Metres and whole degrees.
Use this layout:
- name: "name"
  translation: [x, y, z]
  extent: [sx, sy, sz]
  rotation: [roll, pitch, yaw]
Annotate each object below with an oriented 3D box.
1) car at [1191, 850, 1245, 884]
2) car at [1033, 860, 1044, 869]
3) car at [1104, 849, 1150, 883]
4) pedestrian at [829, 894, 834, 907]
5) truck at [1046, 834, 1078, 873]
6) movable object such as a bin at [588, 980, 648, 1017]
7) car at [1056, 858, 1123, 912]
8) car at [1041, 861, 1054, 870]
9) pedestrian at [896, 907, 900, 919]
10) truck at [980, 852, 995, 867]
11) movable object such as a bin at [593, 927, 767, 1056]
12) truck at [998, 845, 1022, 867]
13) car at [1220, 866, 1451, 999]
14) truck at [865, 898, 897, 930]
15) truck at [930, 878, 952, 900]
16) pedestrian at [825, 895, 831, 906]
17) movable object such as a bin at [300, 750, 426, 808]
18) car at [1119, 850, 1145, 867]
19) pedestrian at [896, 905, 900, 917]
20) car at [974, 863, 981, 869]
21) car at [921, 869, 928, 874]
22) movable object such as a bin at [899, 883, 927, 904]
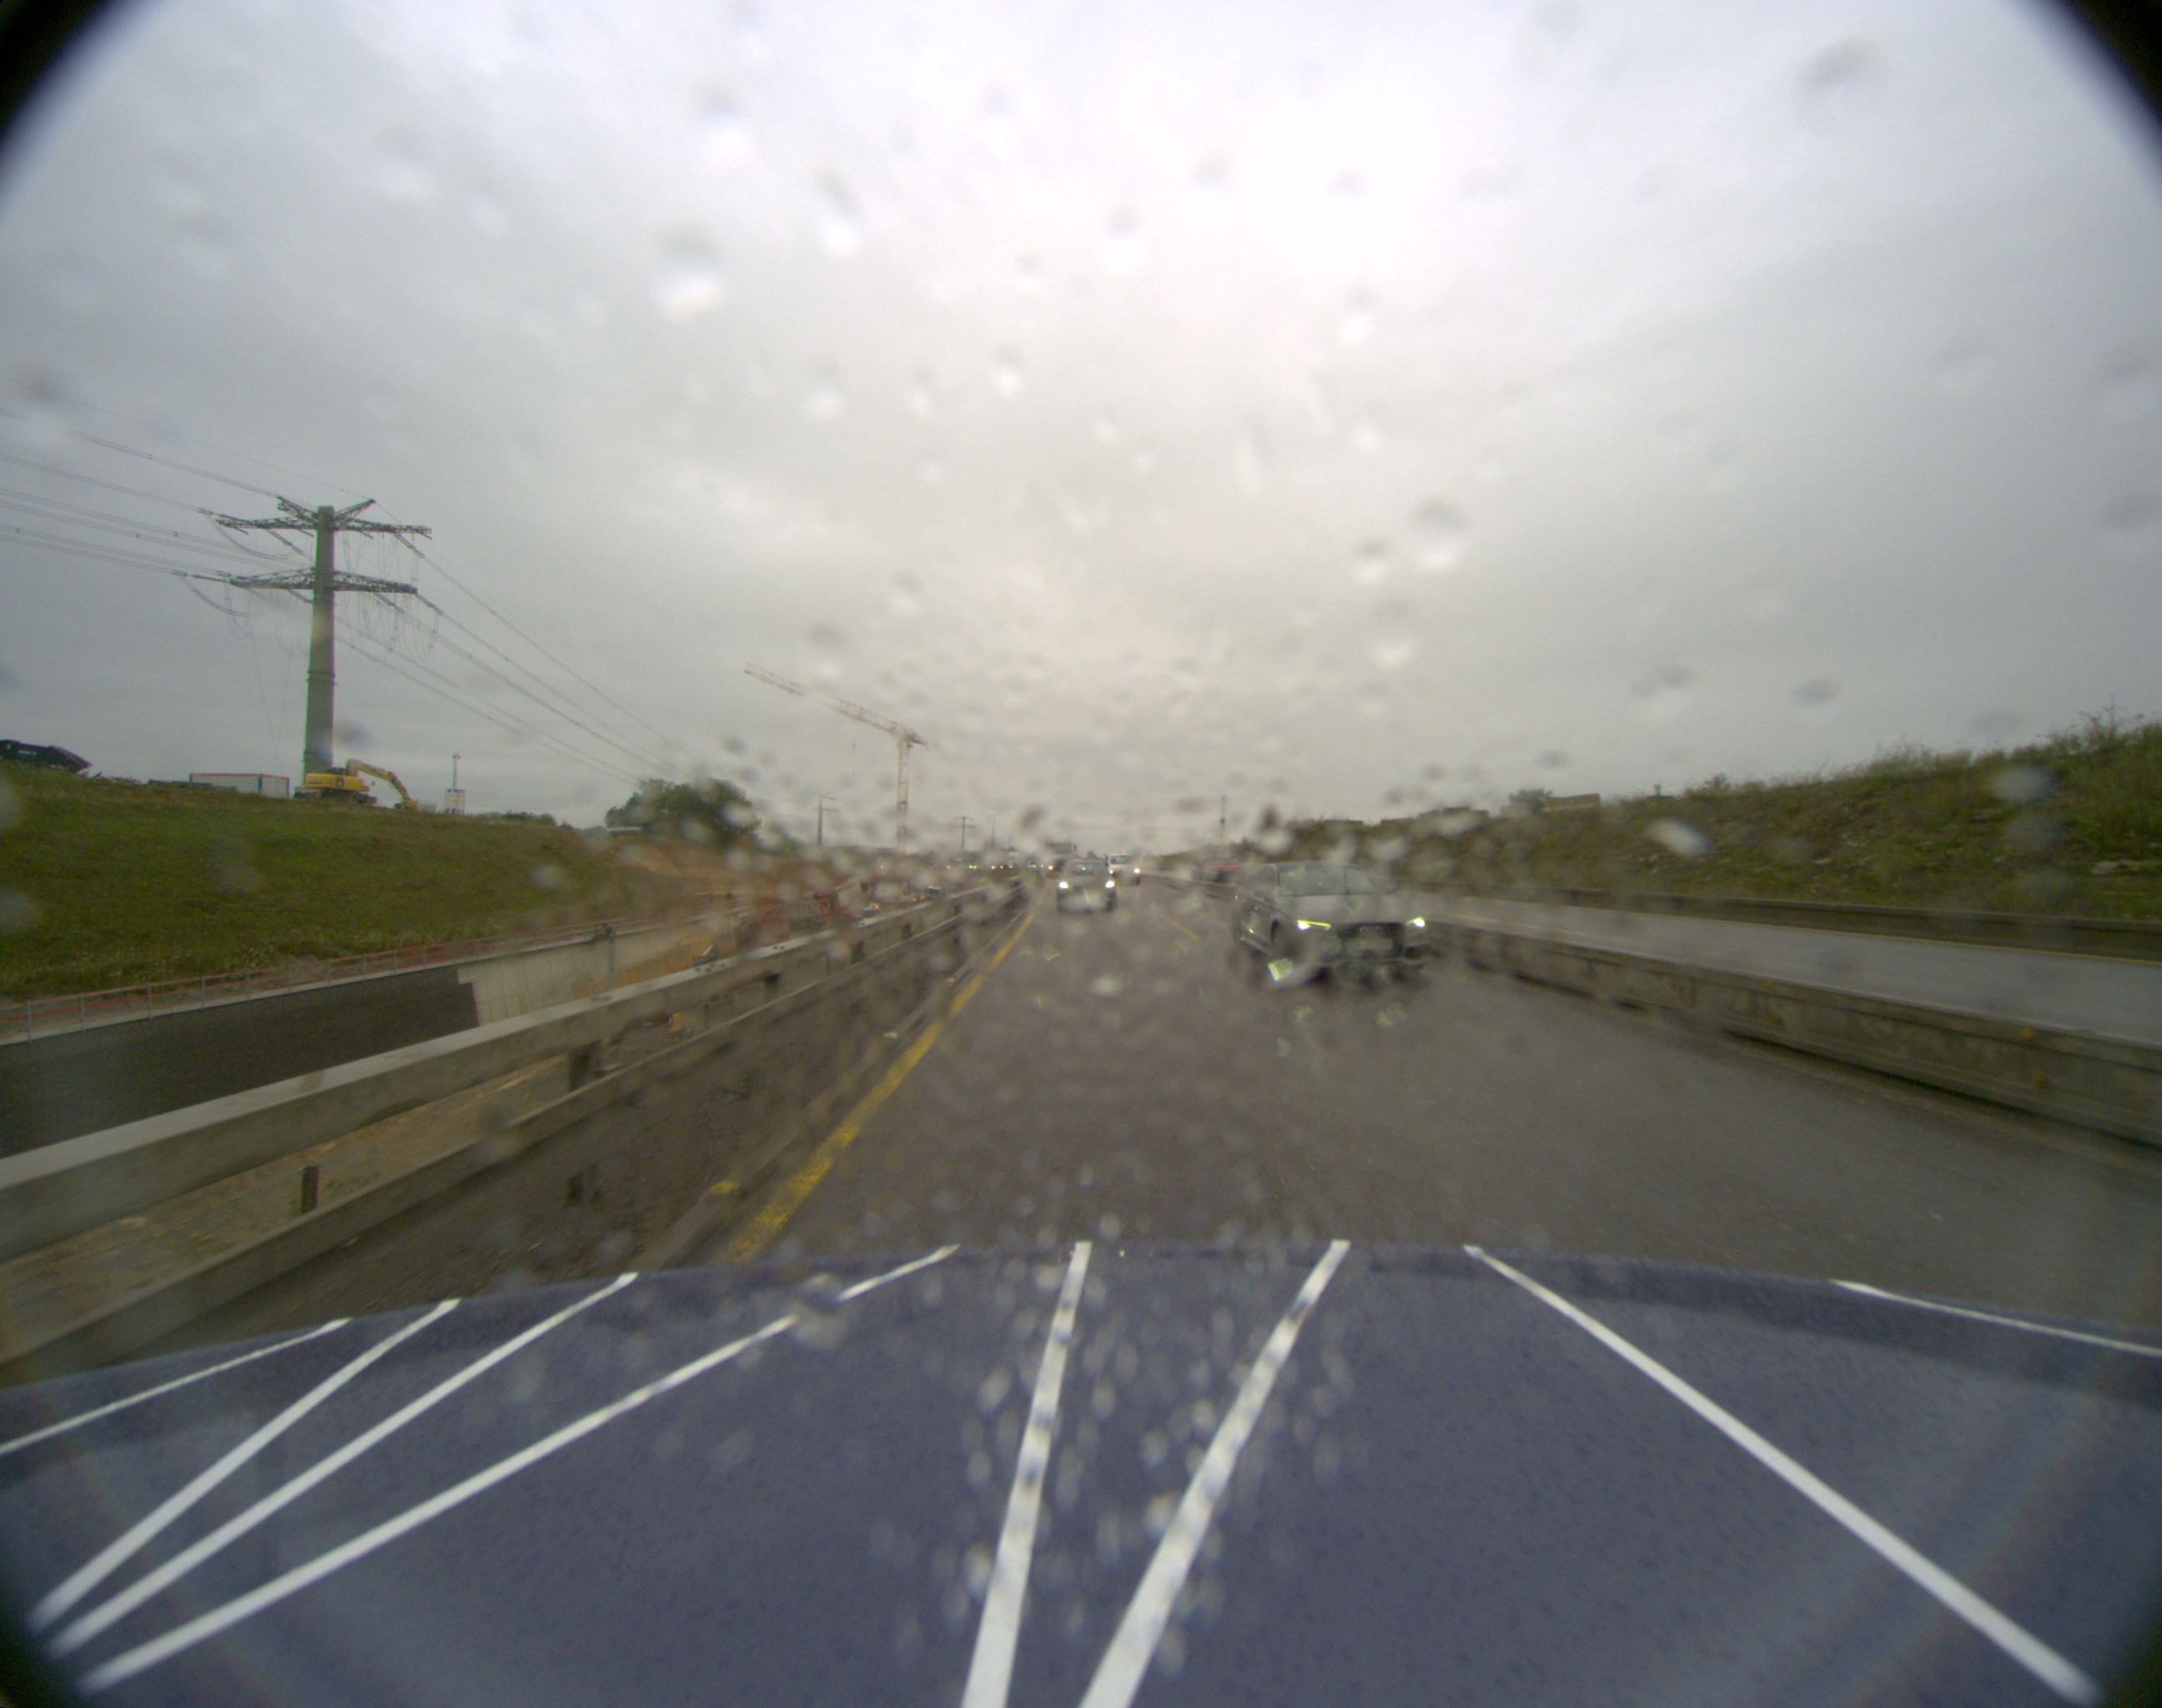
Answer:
- name: "car"
  translation: [6.765, 0.599, 38.035]
  extent: [1.816, 1.584, 4.901]
  rotation: [0, 0, -1]
- name: "car"
  translation: [-8.588, 2.107, 153.755]
  extent: [1.791, 1.646, 3.996]
  rotation: [-3, 0, -11]
- name: "car"
  translation: [2.716, 0.678, 46.172]
  extent: [2.070, 1.933, 5.154]
  rotation: [-2, 0, -4]
- name: "pedestrian"
  translation: [-42.049, 7.883, 127.839]
  extent: [0.489, 2.088, 0.481]
  rotation: [-7, 2, -8]
- name: "truck"
  translation: [-1.954, -0.074, 73.935]
  extent: [2.856, 3.462, 8.641]
  rotation: [-2, 0, -3]
- name: "movable object such as a bin"
  translation: [-34.605, 10.780, 56.897]
  extent: [2.524, 1.900, 3.255]
  rotation: [-4, 1, -7]
- name: "car"
  translation: [0.178, 0.909, 23.833]
  extent: [1.874, 1.481, 4.260]
  rotation: [-2, 0, -2]
- name: "car"
  translation: [-6.082, 2.100, 137.175]
  extent: [1.790, 1.418, 3.997]
  rotation: [-3, 0, -8]
- name: "pedestrian"
  translation: [-29.338, 9.503, 121.983]
  extent: [0.603, 1.894, 0.614]
  rotation: [0, 1, -8]
- name: "truck"
  translation: [-26.193, 1.588, 213.001]
  extent: [3.548, 3.870, 8.328]
  rotation: [-3, 0, -10]
- name: "movable object such as a bin"
  translation: [-25.998, 8.655, 50.563]
  extent: [4.907, 5.639, 12.083]
  rotation: [-4, 3, -1]
- name: "truck"
  translation: [-15.294, 0.368, 163.051]
  extent: [4.321, 4.319, 13.398]
  rotation: [-3, 0, -8]
- name: "car"
  translation: [3.276, 0.928, 10.690]
  extent: [1.805, 1.375, 4.087]
  rotation: [-2, 0, -1]
- name: "truck"
  translation: [-28.053, 8.345, 106.819]
  extent: [2.711, 3.591, 9.068]
  rotation: [0, 1, -5]
- name: "truck"
  translation: [-27.162, 6.783, 147.829]
  extent: [3.362, 3.521, 8.900]
  rotation: [-1, 2, -5]
- name: "pedestrian"
  translation: [-42.128, 7.741, 126.356]
  extent: [0.488, 1.794, 0.583]
  rotation: [-5, 2, 32]
- name: "movable object such as a bin"
  translation: [-61.889, -6.347, 65.842]
  extent: [3.107, 4.181, 8.178]
  rotation: [0, 0, 0]
- name: "car"
  translation: [5.161, 0.468, 77.728]
  extent: [2.051, 1.623, 4.988]
  rotation: [-2, 0, -2]
- name: "pedestrian"
  translation: [-29.579, 9.198, 122.625]
  extent: [0.603, 1.894, 0.481]
  rotation: [0, 1, -8]
- name: "car"
  translation: [-30.075, 3.449, 220.821]
  extent: [1.790, 1.418, 3.997]
  rotation: [-3, 0, -8]
- name: "car"
  translation: [-51.689, 5.847, 250.979]
  extent: [2.352, 1.608, 4.855]
  rotation: [-1, 0, -9]
- name: "movable object such as a bin"
  translation: [-31.011, 7.231, 140.566]
  extent: [3.517, 3.405, 6.651]
  rotation: [-2, 1, 1]
